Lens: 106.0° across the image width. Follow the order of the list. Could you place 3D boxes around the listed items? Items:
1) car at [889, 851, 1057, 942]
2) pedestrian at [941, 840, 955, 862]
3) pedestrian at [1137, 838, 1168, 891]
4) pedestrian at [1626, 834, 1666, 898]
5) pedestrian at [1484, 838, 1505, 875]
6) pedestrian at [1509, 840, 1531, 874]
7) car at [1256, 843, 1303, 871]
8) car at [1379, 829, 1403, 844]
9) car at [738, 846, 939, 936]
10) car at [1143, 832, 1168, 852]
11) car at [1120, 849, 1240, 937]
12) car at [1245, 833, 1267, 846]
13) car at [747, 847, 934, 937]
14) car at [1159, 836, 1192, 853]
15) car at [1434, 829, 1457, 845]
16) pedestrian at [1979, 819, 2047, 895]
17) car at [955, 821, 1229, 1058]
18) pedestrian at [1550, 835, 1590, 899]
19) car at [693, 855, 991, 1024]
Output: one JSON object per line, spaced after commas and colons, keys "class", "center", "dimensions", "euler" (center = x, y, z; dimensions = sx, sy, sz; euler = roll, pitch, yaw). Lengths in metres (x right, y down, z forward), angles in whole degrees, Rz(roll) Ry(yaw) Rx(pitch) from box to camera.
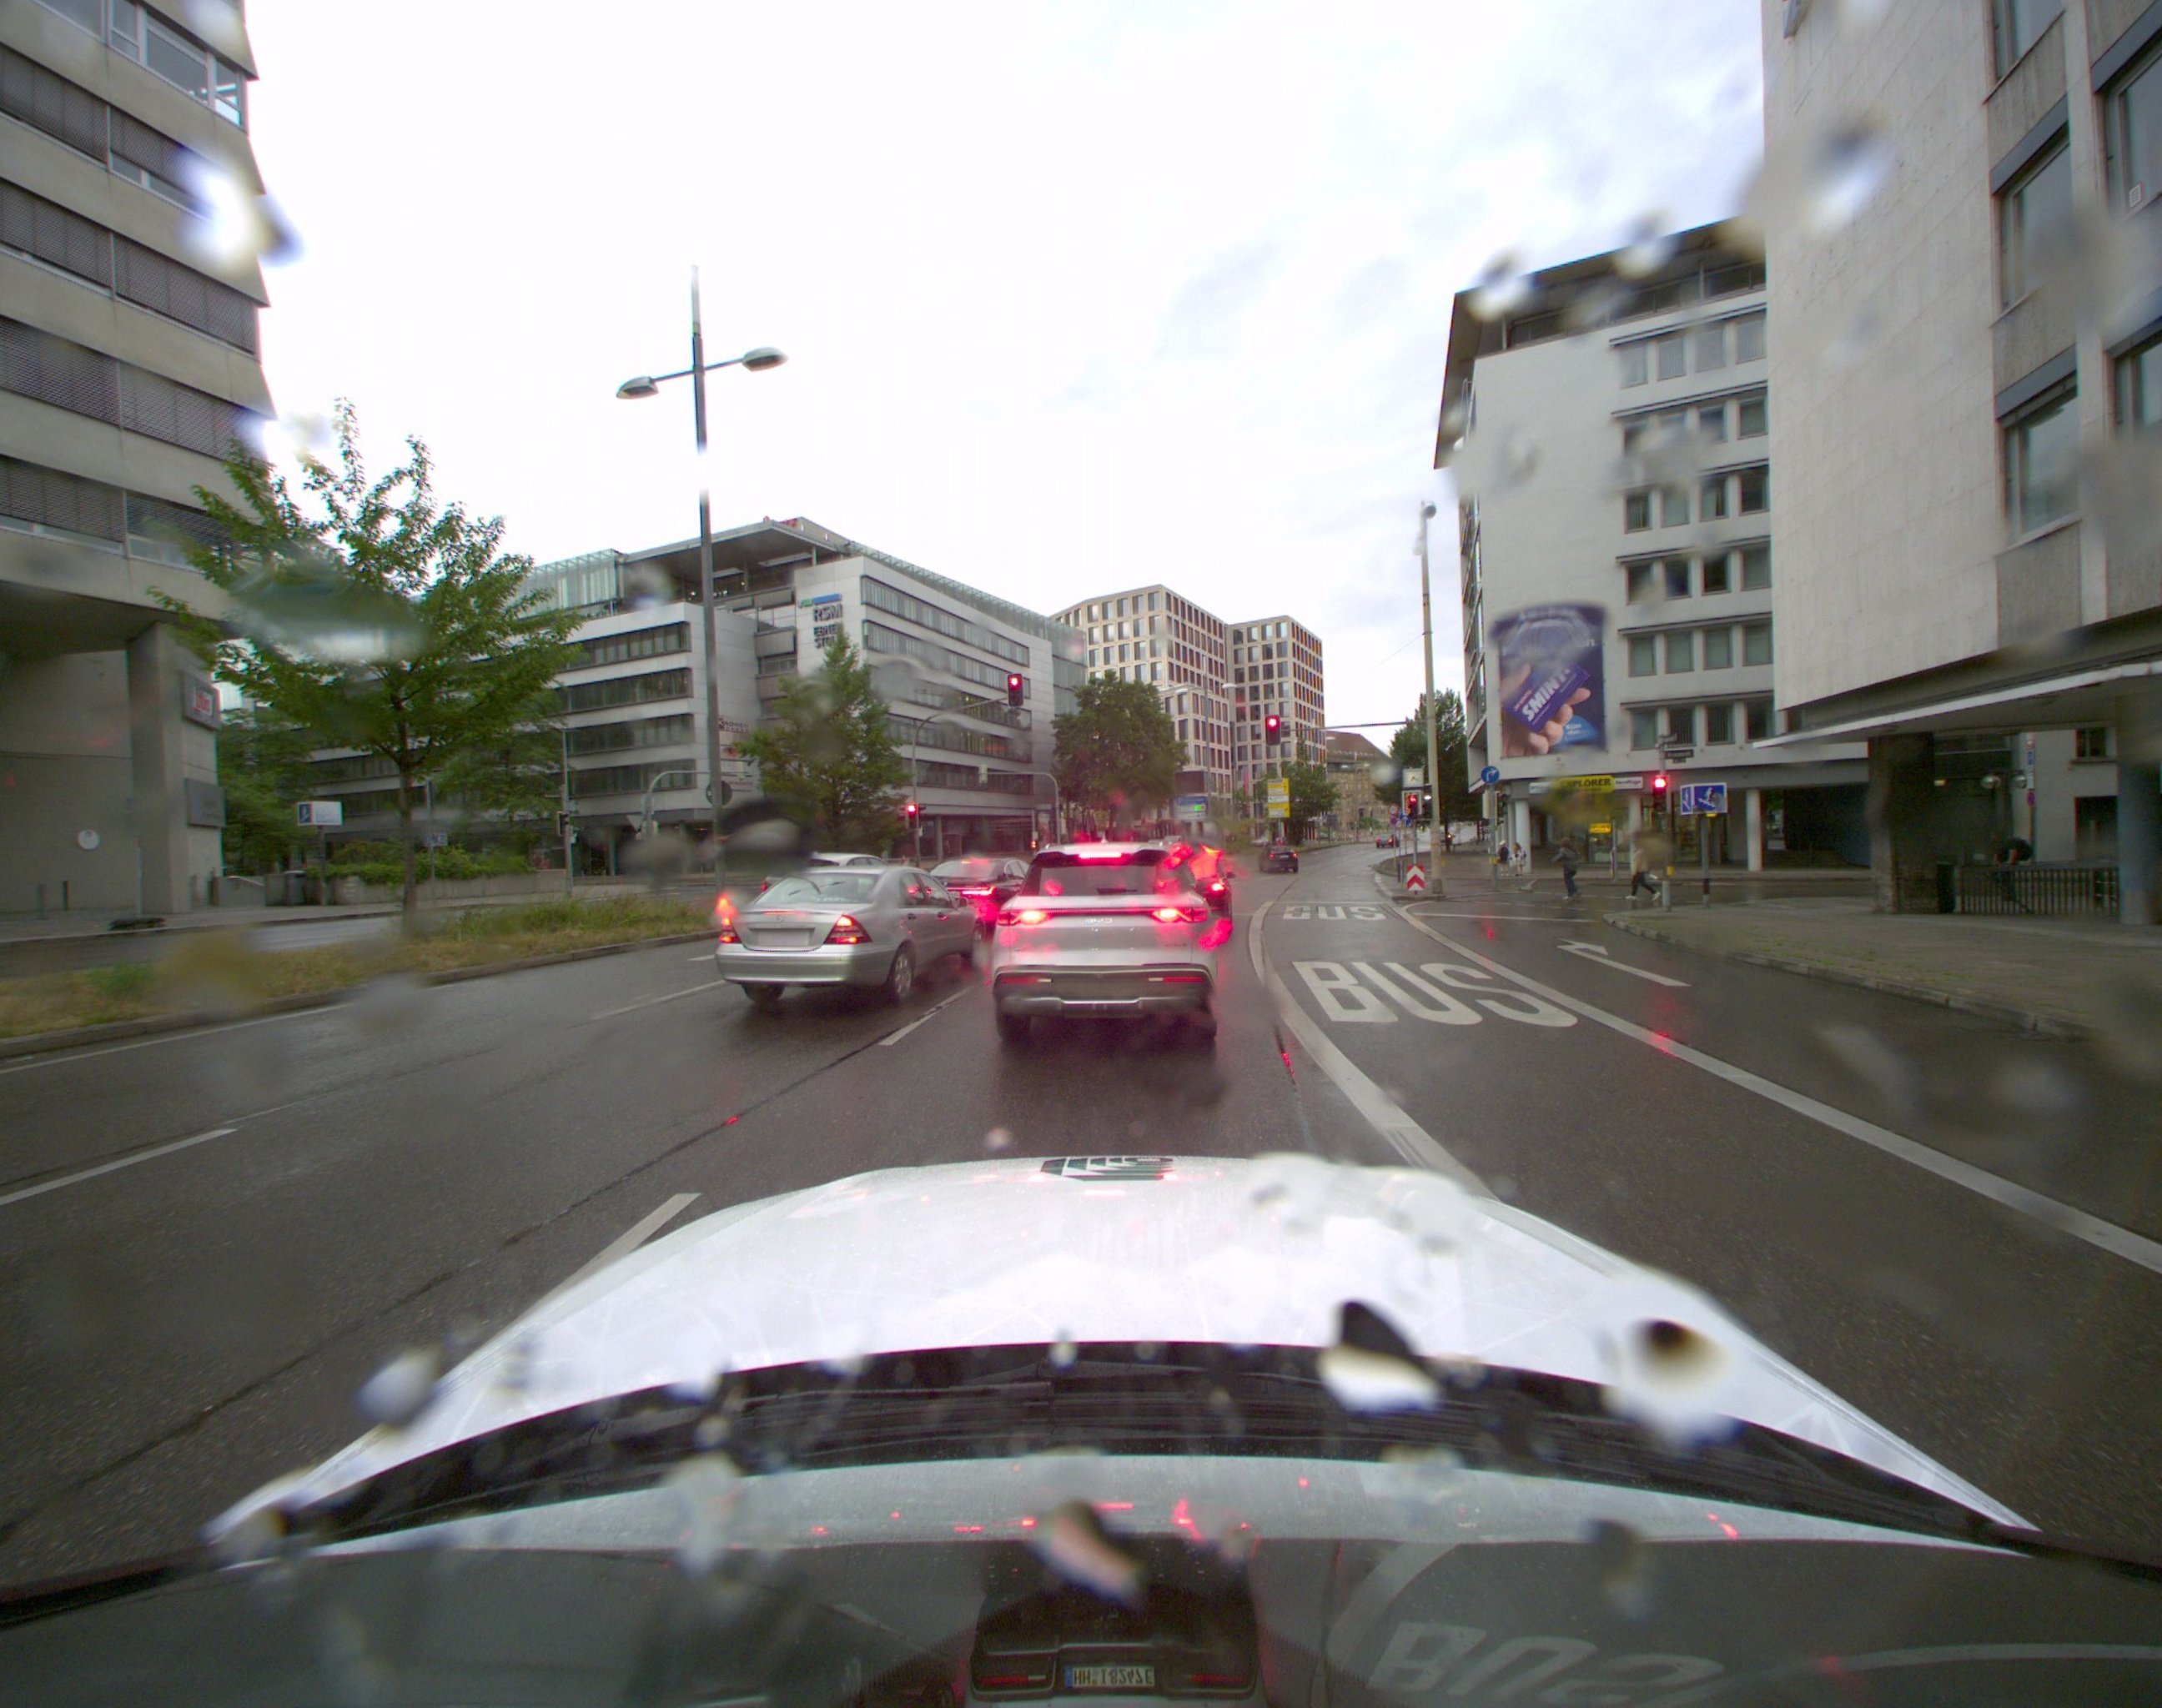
{"class": "car", "center": [-1.954, 0.740, 16.031], "dimensions": [1.941, 1.530, 4.015], "euler": [-1, 0, 13]}
{"class": "pedestrian", "center": [-10.724, -0.242, 65.795], "dimensions": [0.721, 1.727, 0.930], "euler": [-1, 0, 24]}
{"class": "pedestrian", "center": [2.401, 0.333, 27.531], "dimensions": [0.920, 1.738, 0.729], "euler": [-2, 0, -3]}
{"class": "pedestrian", "center": [16.165, 0.333, 23.315], "dimensions": [0.721, 1.798, 0.742], "euler": [-1, 0, 17]}
{"class": "pedestrian", "center": [18.996, 0.105, 37.398], "dimensions": [0.721, 1.668, 0.694], "euler": [-1, -1, 17]}
{"class": "pedestrian", "center": [19.793, 0.127, 36.729], "dimensions": [0.721, 1.524, 0.763], "euler": [-1, -1, 17]}
{"class": "car", "center": [11.718, 0.159, 48.261], "dimensions": [1.986, 1.552, 4.003], "euler": [0, 1, 2]}
{"class": "car", "center": [33.183, -1.832, 87.138], "dimensions": [1.892, 1.510, 4.383], "euler": [0, 1, 28]}
{"class": "car", "center": [-4.806, 0.663, 16.870], "dimensions": [1.769, 1.573, 4.308], "euler": [-2, 0, 19]}
{"class": "car", "center": [8.327, -1.295, 90.882], "dimensions": [1.722, 2.161, 4.516], "euler": [0, 0, 20]}
{"class": "car", "center": [2.126, 0.684, 16.419], "dimensions": [1.941, 1.530, 4.015], "euler": [-1, 0, 13]}
{"class": "car", "center": [25.682, -2.125, 119.548], "dimensions": [1.974, 1.705, 4.336], "euler": [-1, 2, 29]}
{"class": "car", "center": [-4.738, 0.682, 16.743], "dimensions": [1.871, 1.596, 4.015], "euler": [-1, 0, 14]}
{"class": "car", "center": [10.314, -1.012, 88.756], "dimensions": [1.974, 1.705, 4.026], "euler": [0, 2, 31]}
{"class": "car", "center": [43.555, -2.007, 97.356], "dimensions": [2.027, 1.765, 4.384], "euler": [0, 1, 30]}
{"class": "pedestrian", "center": [22.241, 0.077, 19.451], "dimensions": [0.800, 1.755, 1.005], "euler": [0, -1, -44]}
{"class": "car", "center": [0.297, 0.614, 8.208], "dimensions": [1.983, 1.709, 4.490], "euler": [-1, 0, 6]}
{"class": "pedestrian", "center": [14.135, 0.368, 23.569], "dimensions": [0.806, 1.798, 0.714], "euler": [-1, 0, 17]}
{"class": "car", "center": [-2.465, 0.809, 9.621], "dimensions": [1.672, 1.486, 4.208], "euler": [-1, 0, 9]}
